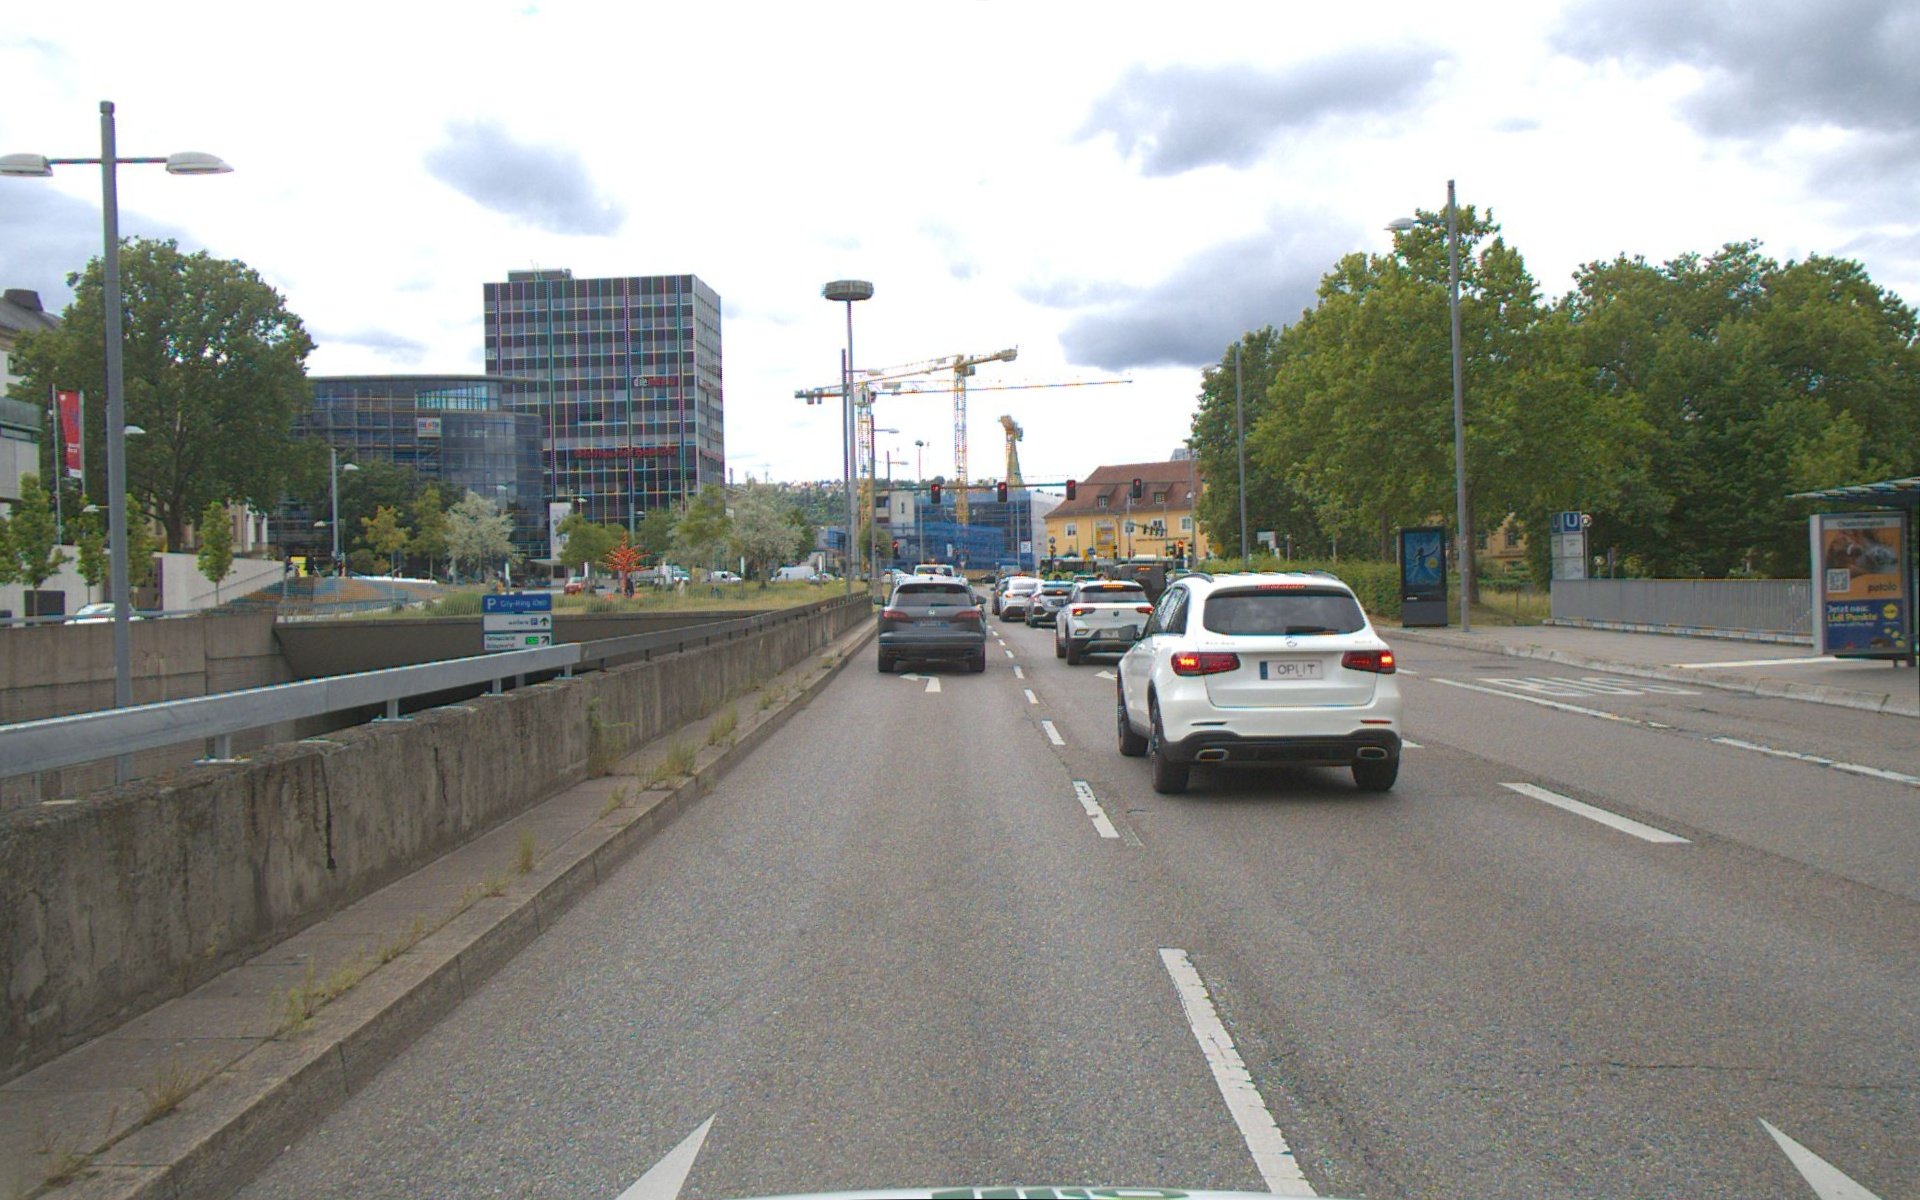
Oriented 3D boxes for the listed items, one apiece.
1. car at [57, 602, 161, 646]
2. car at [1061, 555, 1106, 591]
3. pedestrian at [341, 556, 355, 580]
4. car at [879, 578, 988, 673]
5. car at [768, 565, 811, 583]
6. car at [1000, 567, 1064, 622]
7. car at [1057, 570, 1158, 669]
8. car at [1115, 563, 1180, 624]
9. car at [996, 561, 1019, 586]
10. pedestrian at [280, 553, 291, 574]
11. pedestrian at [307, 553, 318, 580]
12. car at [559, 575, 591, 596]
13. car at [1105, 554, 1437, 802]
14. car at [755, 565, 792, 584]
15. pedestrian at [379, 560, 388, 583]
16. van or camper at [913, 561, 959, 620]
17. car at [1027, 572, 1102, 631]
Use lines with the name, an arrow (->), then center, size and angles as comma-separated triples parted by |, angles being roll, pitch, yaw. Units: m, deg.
car -> -29.575, 0.819, 57.601 | 1.772, 1.452, 3.706 | 1, -1, -2
car -> 5.744, -1.220, 77.323 | 1.684, 1.612, 3.998 | 1, 0, -2
pedestrian -> -43.930, -2.296, 118.761 | 0.679, 1.759, 0.641 | 1, -1, 23
car -> -0.482, 0.421, 30.549 | 1.883, 1.630, 3.999 | 0, 0, -1
car -> -21.387, -3.255, 207.616 | 5.163, 2.096, 1.873 | 1, -1, 0
car -> 2.429, -0.171, 56.925 | 1.953, 1.812, 3.999 | 1, -1, -1
car -> 2.830, 0.320, 32.429 | 1.638, 1.655, 4.002 | 1, 3, 0
car -> 6.538, -0.240, 58.060 | 1.751, 2.049, 3.999 | 0, 0, -1
car -> 4.101, -2.260, 142.535 | 1.763, 2.049, 3.999 | 1, -1, -1
pedestrian -> -58.448, -3.173, 143.266 | 0.626, 1.759, 0.695 | 1, -1, 0
pedestrian -> -42.164, -2.161, 107.714 | 0.630, 1.759, 0.690 | 1, -1, -24
car -> -32.262, -1.210, 138.680 | 1.829, 1.646, 3.480 | 1, -1, -1
car -> 2.360, 0.561, 13.607 | 1.901, 1.713, 3.999 | -1, -1, -1
car -> -21.525, -2.967, 190.573 | 3.924, 2.049, 1.990 | 1, -1, -18
pedestrian -> -45.282, -2.214, 129.916 | 0.628, 1.759, 0.692 | 1, -1, -16
van or camper -> -0.998, -0.364, 69.463 | 1.883, 2.360, 3.999 | 0, -1, -1
car -> 3.136, 0.065, 50.247 | 1.953, 1.691, 3.999 | 1, -1, -1
